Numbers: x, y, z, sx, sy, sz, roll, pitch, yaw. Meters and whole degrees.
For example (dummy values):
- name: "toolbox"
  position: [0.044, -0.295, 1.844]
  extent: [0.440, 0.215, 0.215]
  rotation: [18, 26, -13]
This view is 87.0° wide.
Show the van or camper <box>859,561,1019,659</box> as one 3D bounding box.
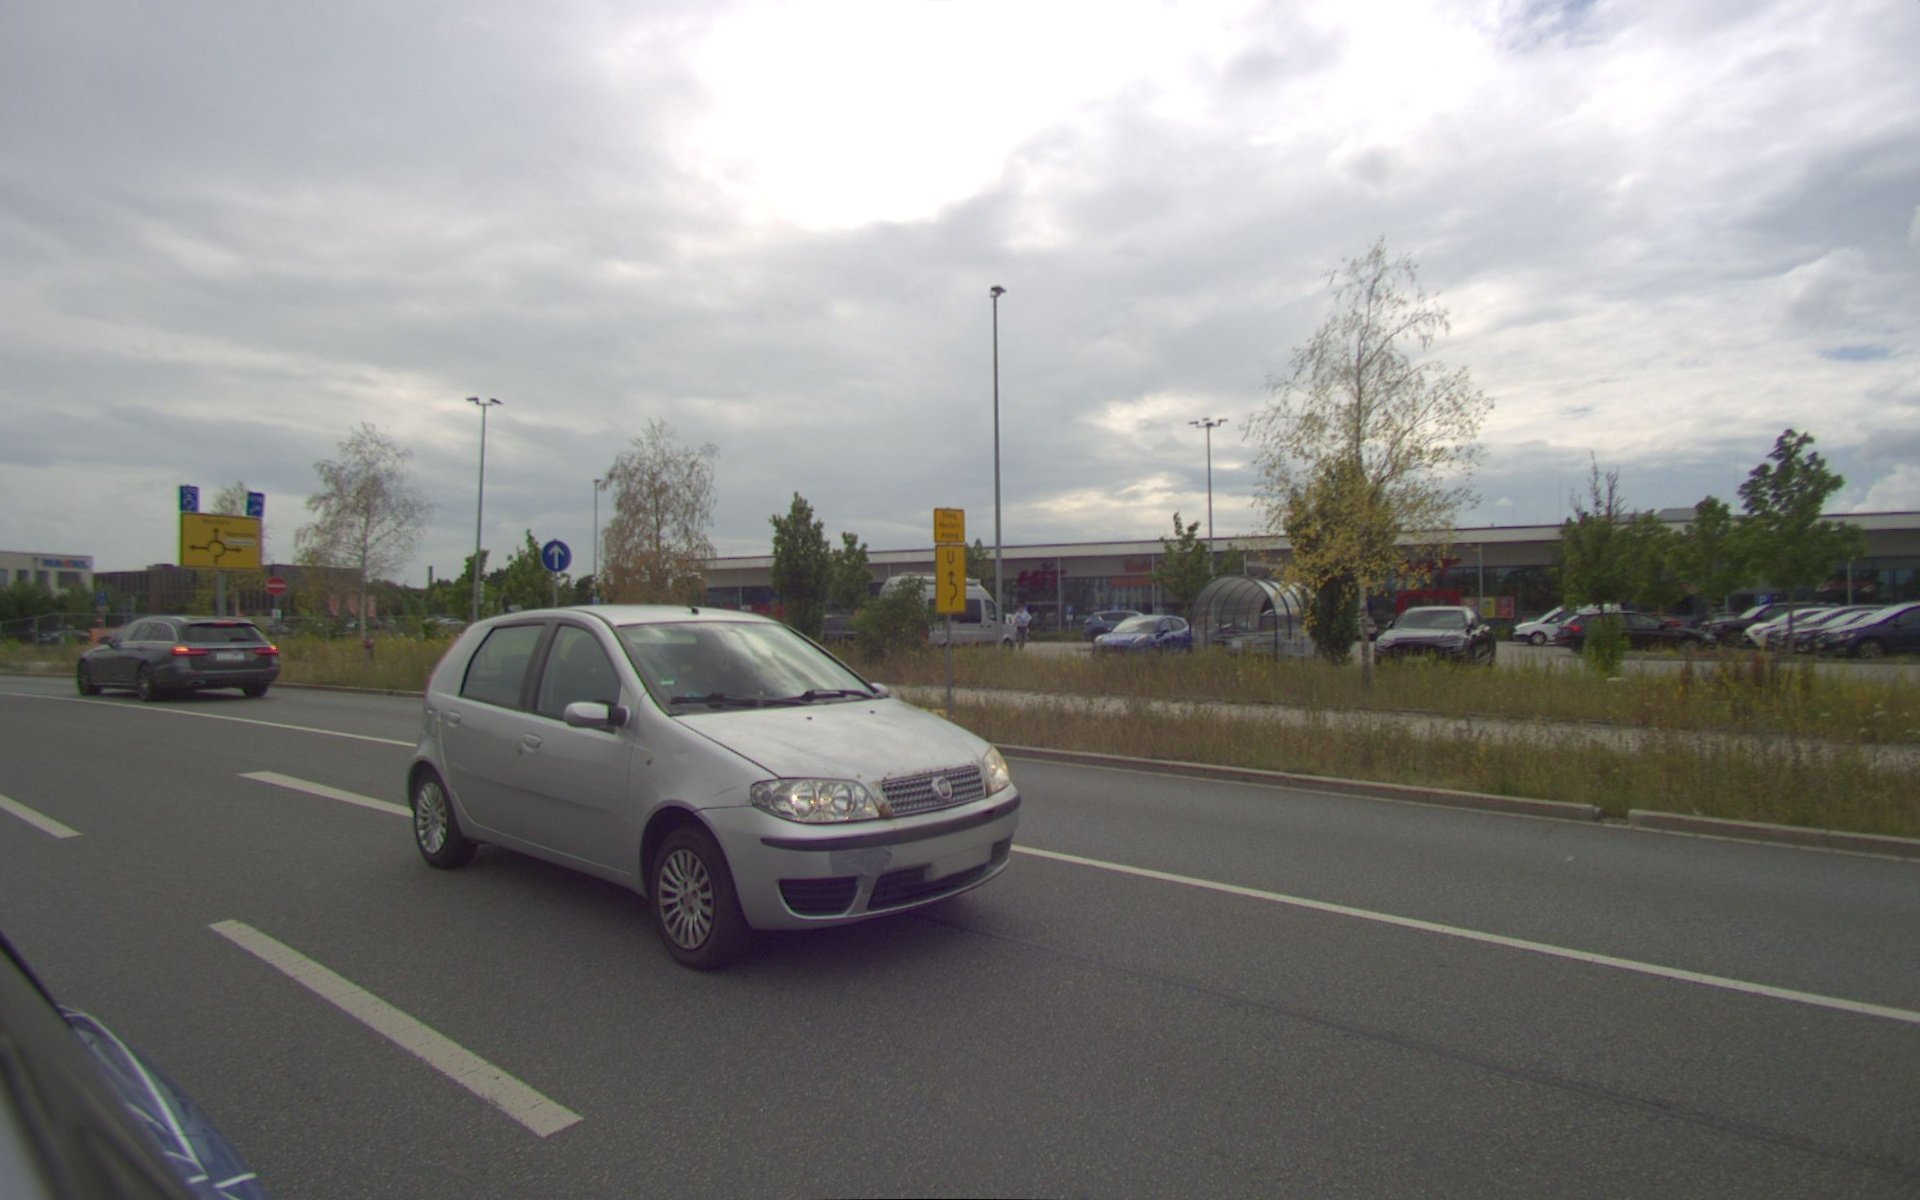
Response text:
- name: "van or camper"
  position: [-0.528, 0.337, 32.321]
  extent: [2.237, 2.821, 5.805]
  rotation: [0, -1, 33]

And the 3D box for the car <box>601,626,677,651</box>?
- name: "car"
  position: [-19.240, 2.286, 60.614]
  extent: [4.166, 1.463, 1.819]
  rotation: [-1, -1, 22]

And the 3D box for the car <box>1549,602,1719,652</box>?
- name: "car"
  position: [21.539, 0.854, 32.559]
  extent: [4.164, 1.530, 1.987]
  rotation: [-1, -1, 20]

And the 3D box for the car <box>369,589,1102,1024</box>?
- name: "car"
  position: [-1.422, 0.736, 5.341]
  extent: [4.029, 1.449, 1.685]
  rotation: [-2, -2, 40]

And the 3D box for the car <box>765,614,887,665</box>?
- name: "car"
  position: [-4.554, 1.320, 34.758]
  extent: [2.080, 1.646, 3.909]
  rotation: [-1, -1, 35]

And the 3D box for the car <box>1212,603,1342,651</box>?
- name: "car"
  position: [13.201, 1.141, 42.164]
  extent: [4.899, 1.914, 2.140]
  rotation: [-1, -1, 26]

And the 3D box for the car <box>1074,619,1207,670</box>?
- name: "car"
  position: [5.202, 1.215, 28.722]
  extent: [2.008, 1.314, 4.284]
  rotation: [-1, -1, 37]

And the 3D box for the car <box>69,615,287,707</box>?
- name: "car"
  position: [-14.471, 1.063, 18.645]
  extent: [4.754, 1.501, 1.770]
  rotation: [-1, -2, 34]

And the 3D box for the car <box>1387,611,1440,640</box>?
- name: "car"
  position: [24.208, 1.366, 54.138]
  extent: [1.987, 1.493, 4.030]
  rotation: [-1, -1, 16]

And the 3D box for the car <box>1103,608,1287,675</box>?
- name: "car"
  position: [4.991, 0.819, 21.187]
  extent: [2.011, 1.269, 4.036]
  rotation: [-2, -2, 43]

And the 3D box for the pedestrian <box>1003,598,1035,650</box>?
- name: "pedestrian"
  position: [2.187, 0.885, 37.600]
  extent: [1.098, 1.904, 1.011]
  rotation: [-1, -1, 0]

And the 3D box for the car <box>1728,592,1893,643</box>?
- name: "car"
  position: [29.635, 0.621, 35.406]
  extent: [3.966, 1.697, 1.828]
  rotation: [-1, -1, 17]

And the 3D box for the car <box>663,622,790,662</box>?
- name: "car"
  position: [-8.734, 1.543, 38.252]
  extent: [2.135, 1.377, 4.531]
  rotation: [-1, -1, 32]

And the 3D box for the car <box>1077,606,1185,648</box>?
- name: "car"
  position: [7.484, 1.176, 44.222]
  extent: [4.358, 1.765, 1.897]
  rotation: [-1, -1, 21]

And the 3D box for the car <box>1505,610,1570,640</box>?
- name: "car"
  position: [29.698, 1.288, 52.212]
  extent: [1.987, 1.493, 4.030]
  rotation: [-1, -1, 16]

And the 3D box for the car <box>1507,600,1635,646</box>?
- name: "car"
  position: [25.801, 0.986, 42.931]
  extent: [4.275, 1.888, 2.228]
  rotation: [-1, -1, 21]

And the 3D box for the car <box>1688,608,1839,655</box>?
- name: "car"
  position: [29.802, 1.158, 37.683]
  extent: [3.966, 1.697, 1.828]
  rotation: [-1, -1, 17]

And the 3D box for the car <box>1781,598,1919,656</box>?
- name: "car"
  position: [26.091, 0.728, 27.865]
  extent: [5.080, 1.530, 1.981]
  rotation: [-1, -1, 28]
